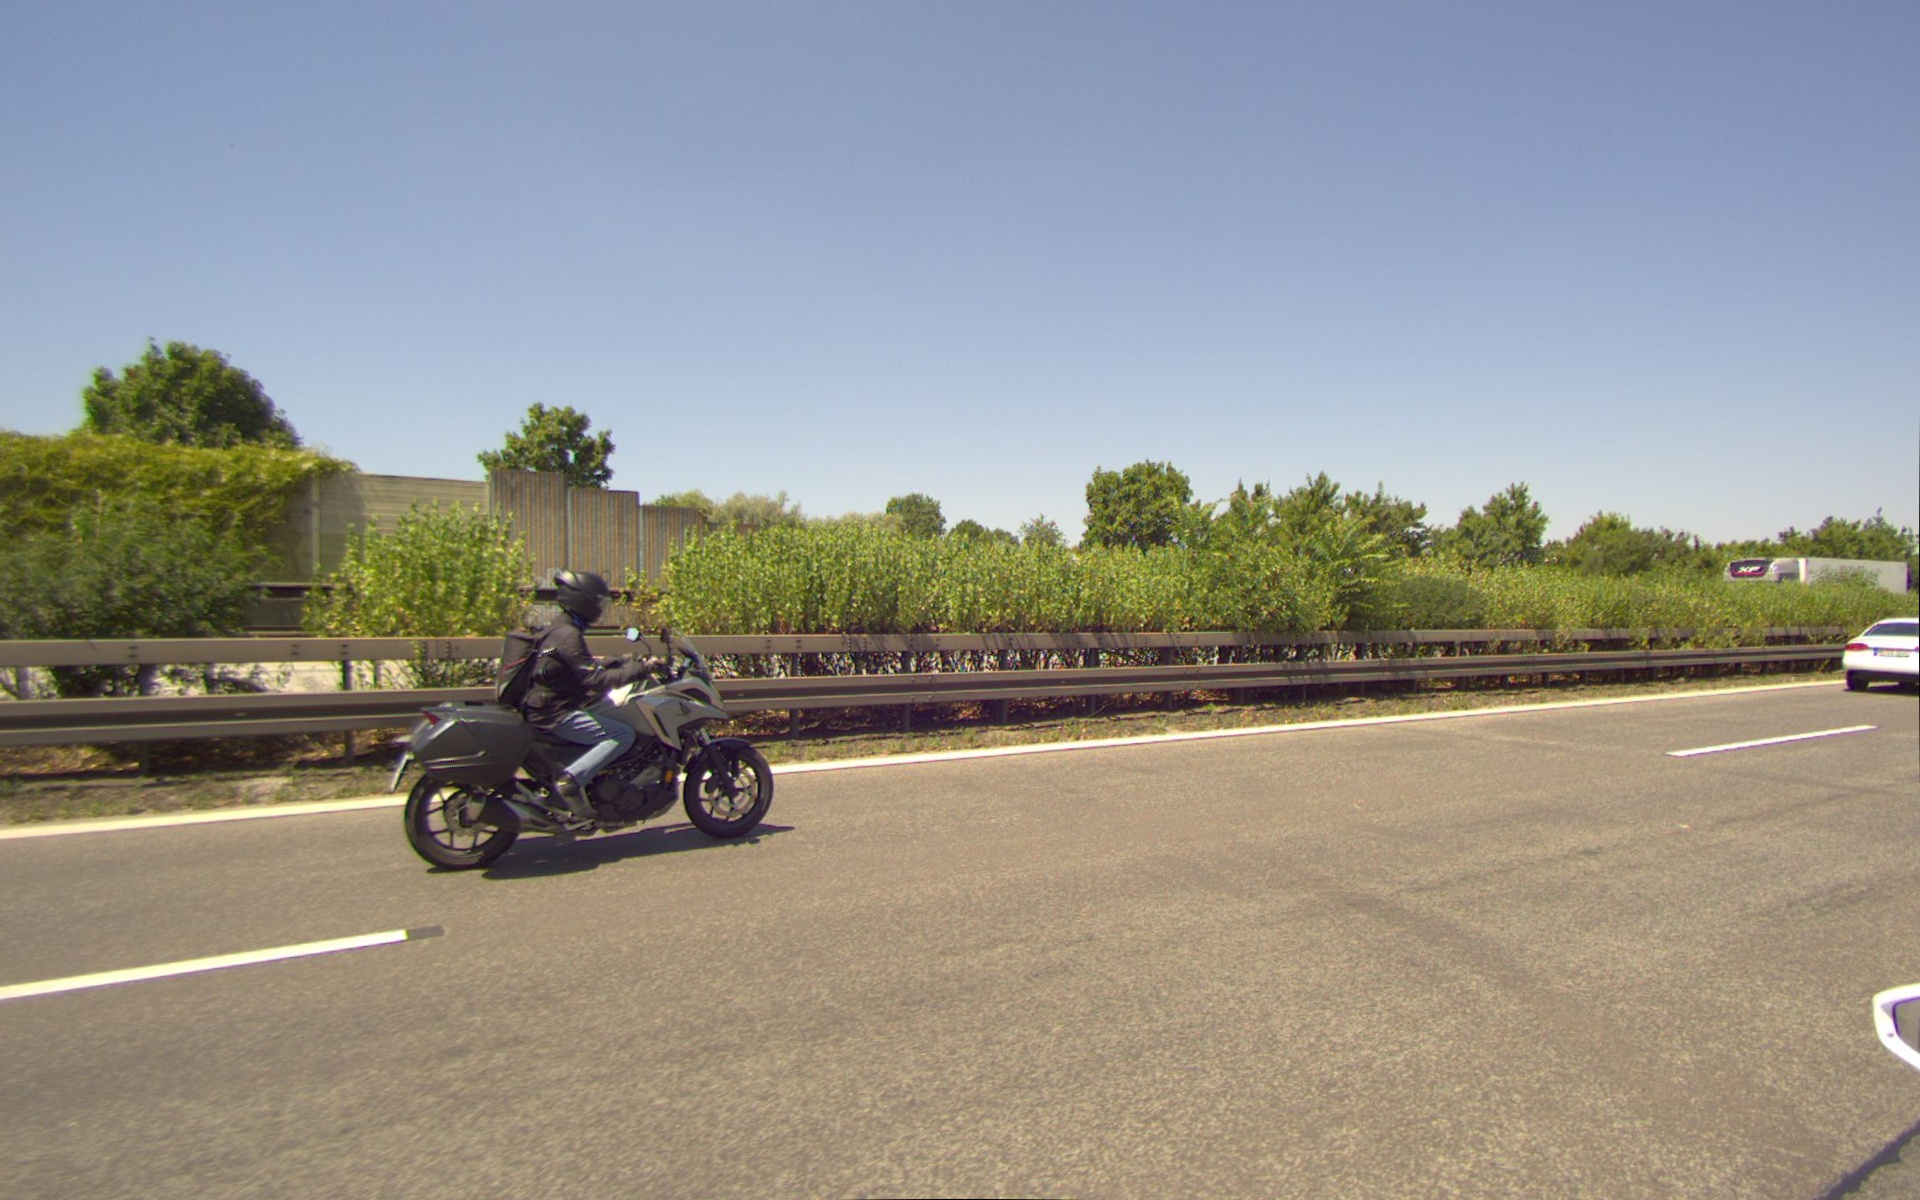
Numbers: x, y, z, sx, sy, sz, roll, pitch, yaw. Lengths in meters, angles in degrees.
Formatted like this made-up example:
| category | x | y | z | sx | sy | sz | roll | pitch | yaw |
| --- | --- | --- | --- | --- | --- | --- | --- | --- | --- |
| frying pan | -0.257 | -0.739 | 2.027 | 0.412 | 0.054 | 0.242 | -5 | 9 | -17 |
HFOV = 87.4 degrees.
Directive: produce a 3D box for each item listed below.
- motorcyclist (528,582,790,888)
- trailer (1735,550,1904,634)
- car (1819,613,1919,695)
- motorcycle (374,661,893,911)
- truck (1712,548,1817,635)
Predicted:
| category | x | y | z | sx | sy | sz | roll | pitch | yaw |
| --- | --- | --- | --- | --- | --- | --- | --- | --- | --- |
| motorcyclist | -1.811 | 0.725 | 6.048 | 1.286 | 1.618 | 0.887 | 1 | 0 | -34 |
| trailer | 47.007 | -0.346 | 54.680 | 14.063 | 4.189 | 2.592 | 1 | 0 | -31 |
| car | 19.421 | 1.019 | 20.082 | 5.066 | 1.460 | 1.867 | 0 | 1 | -31 |
| motorcycle | -1.850 | 0.970 | 6.020 | 2.820 | 1.103 | 0.907 | 1 | 0 | -34 |
| truck | 40.920 | -0.392 | 51.097 | 4.691 | 4.211 | 2.593 | 0 | 0 | -29 |
